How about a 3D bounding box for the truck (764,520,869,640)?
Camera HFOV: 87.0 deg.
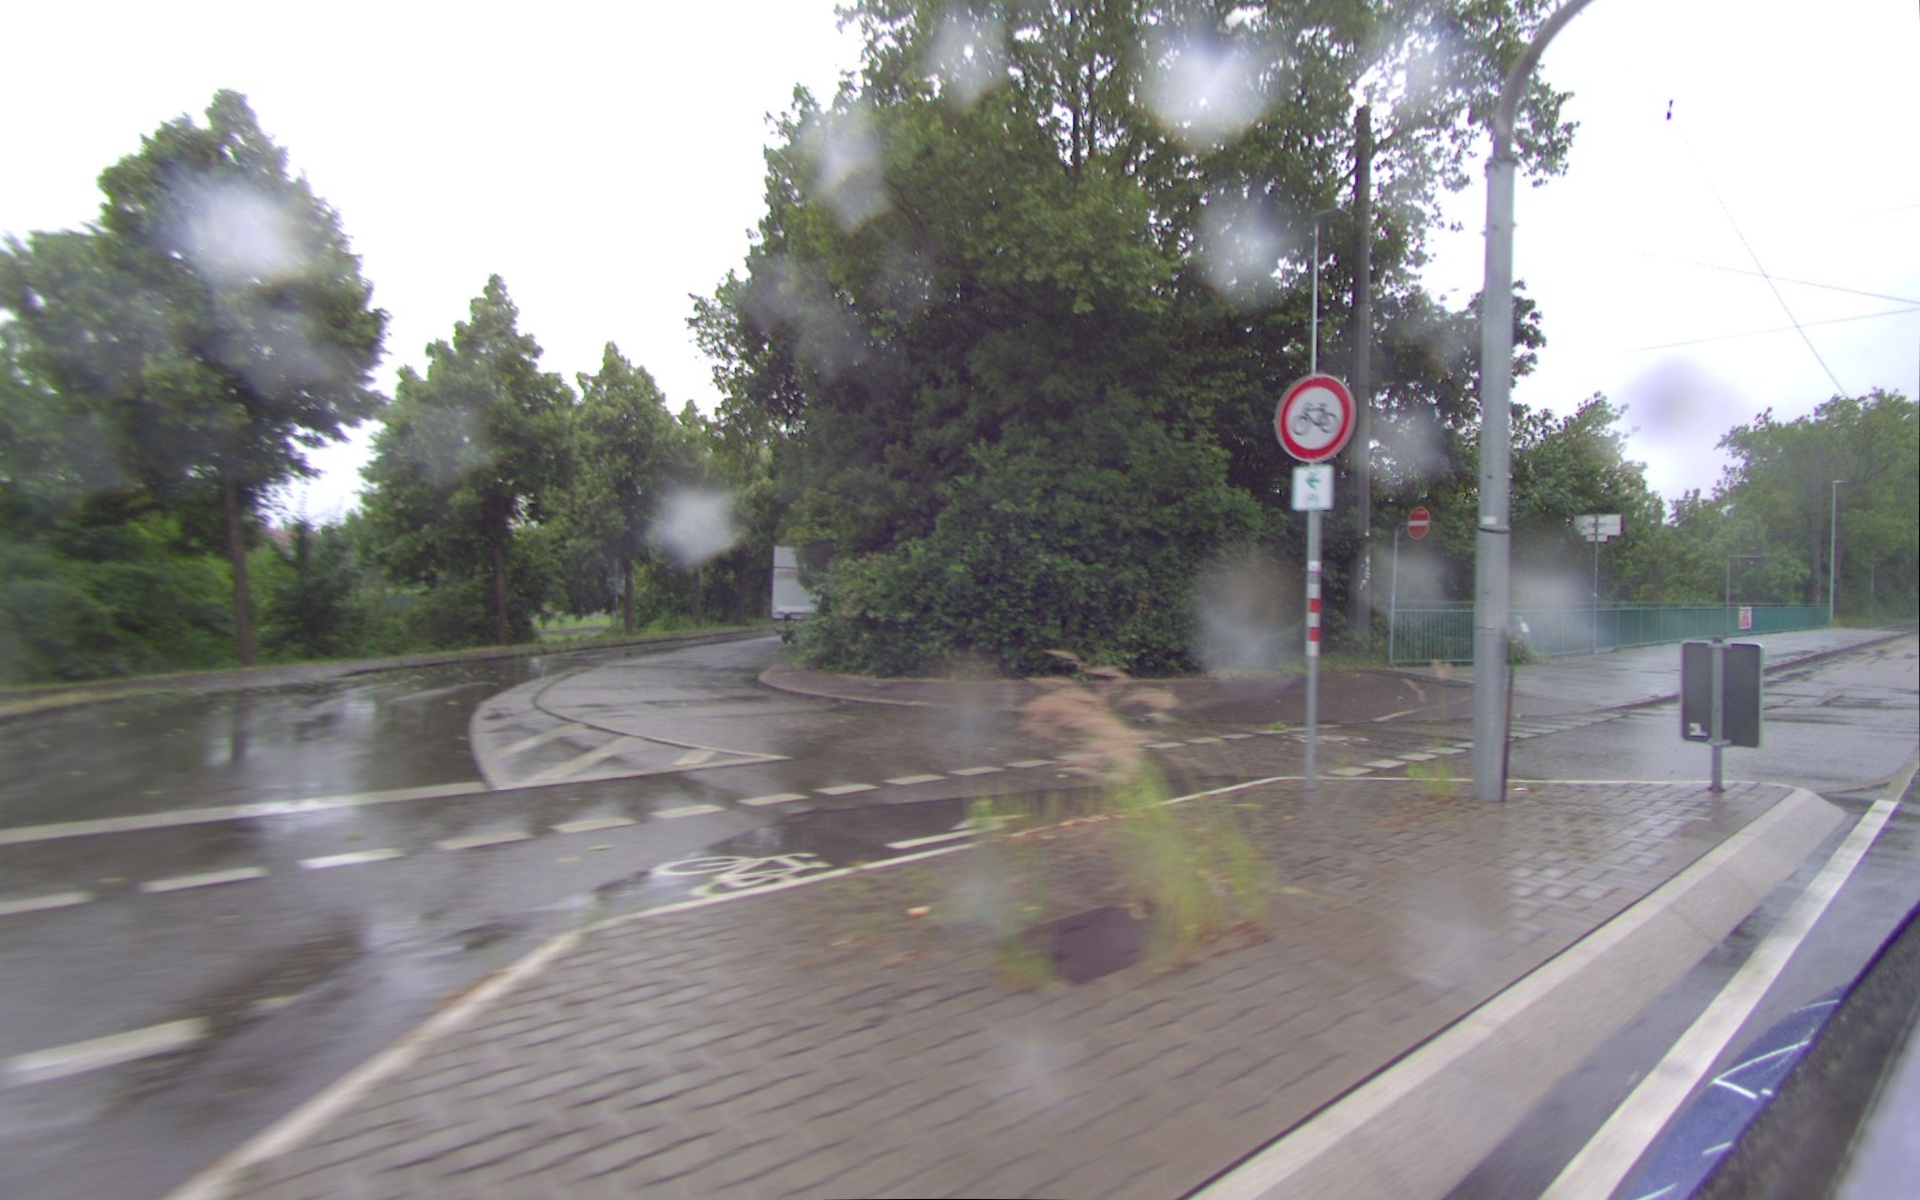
[{"bbox_3d":[-5.586,-0.716,40.887,2.960,4.287,8.371,-1,0,0],"label":"truck"}]
